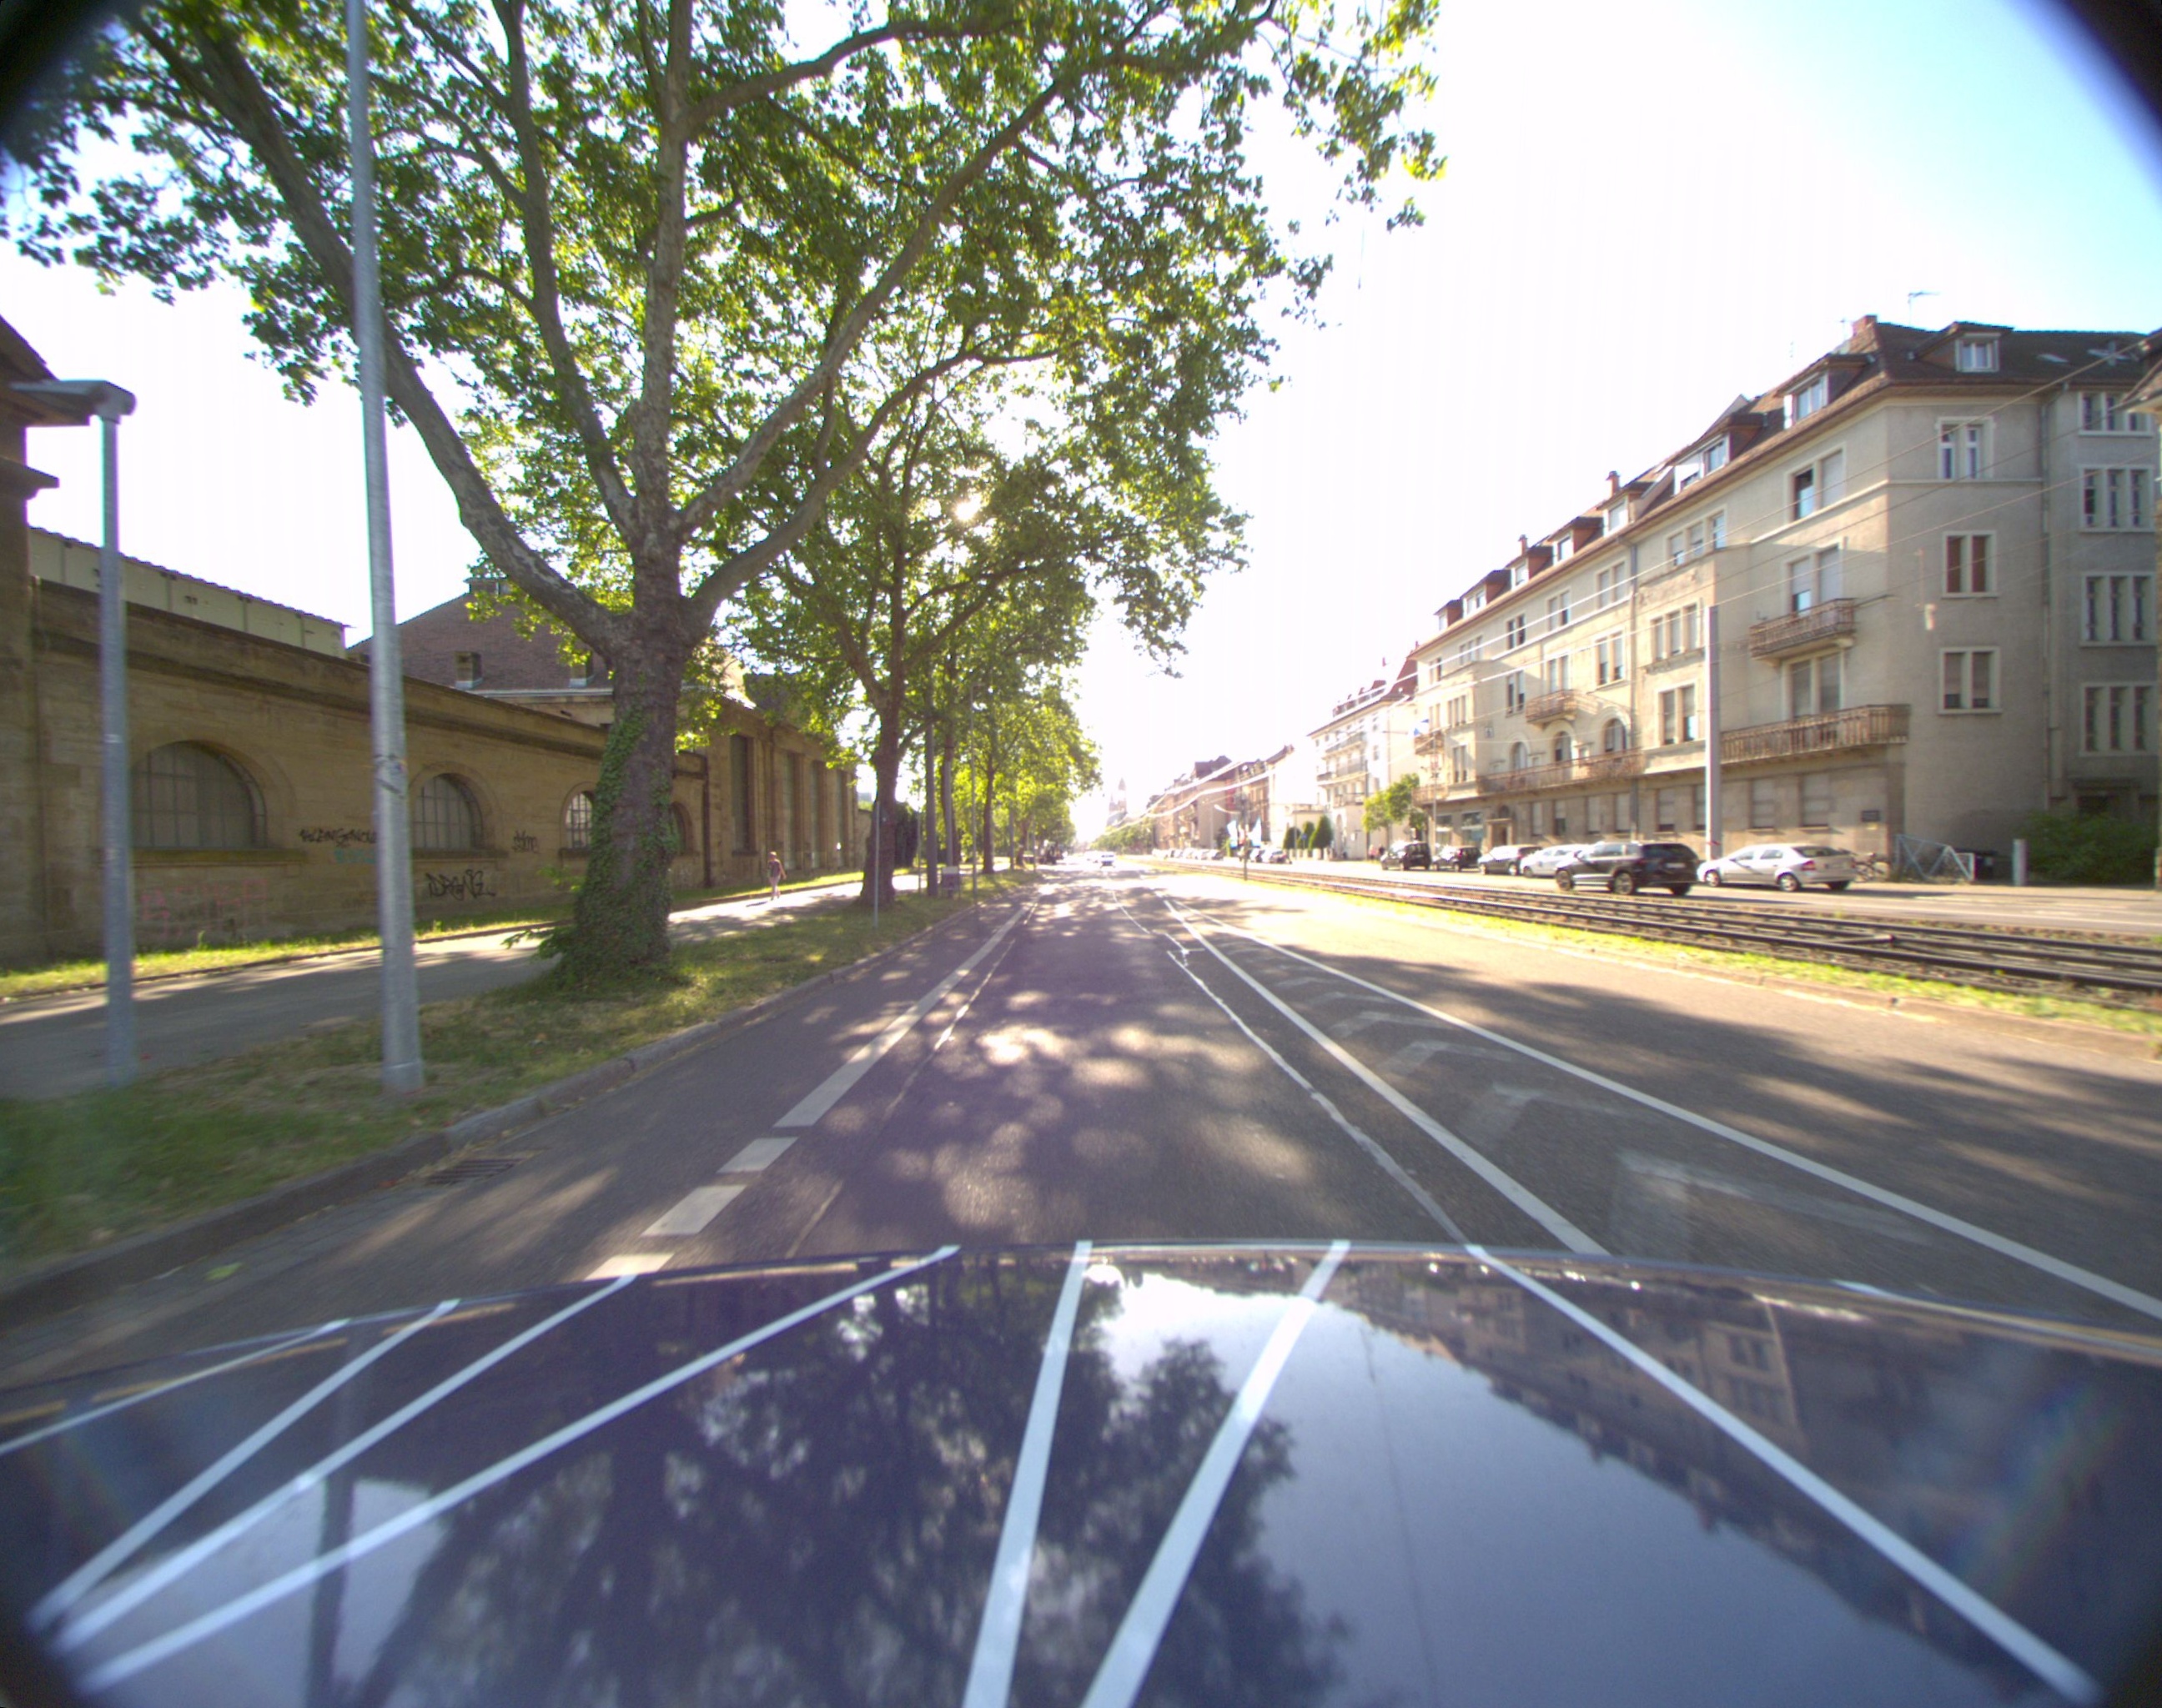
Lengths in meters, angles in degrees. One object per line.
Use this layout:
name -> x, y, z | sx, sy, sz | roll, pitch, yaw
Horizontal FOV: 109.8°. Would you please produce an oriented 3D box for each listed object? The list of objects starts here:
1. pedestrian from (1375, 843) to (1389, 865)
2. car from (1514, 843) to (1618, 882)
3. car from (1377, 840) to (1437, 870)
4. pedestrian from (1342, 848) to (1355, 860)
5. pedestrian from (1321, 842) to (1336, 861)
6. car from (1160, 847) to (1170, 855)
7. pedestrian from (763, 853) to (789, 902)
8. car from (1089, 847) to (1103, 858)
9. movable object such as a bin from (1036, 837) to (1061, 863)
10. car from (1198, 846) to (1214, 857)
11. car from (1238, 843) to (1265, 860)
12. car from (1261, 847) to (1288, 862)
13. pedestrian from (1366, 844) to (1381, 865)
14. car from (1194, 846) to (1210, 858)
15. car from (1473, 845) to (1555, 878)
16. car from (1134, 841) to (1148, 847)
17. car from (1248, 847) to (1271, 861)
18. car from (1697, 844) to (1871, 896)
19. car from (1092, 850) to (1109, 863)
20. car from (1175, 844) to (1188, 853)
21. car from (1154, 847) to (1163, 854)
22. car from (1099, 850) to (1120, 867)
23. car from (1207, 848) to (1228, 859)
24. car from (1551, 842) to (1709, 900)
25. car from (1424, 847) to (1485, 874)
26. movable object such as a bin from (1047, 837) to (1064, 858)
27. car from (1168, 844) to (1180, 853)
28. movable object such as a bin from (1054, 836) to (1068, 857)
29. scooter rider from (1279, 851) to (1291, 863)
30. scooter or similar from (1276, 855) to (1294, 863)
pedestrian -> 24.335, 0.005, 61.478 | 0.855, 1.687, 0.592 | -2, 2, 41
car -> 21.485, 0.374, 33.843 | 1.640, 1.460, 3.980 | -7, 1, -7
car -> 21.452, 0.088, 50.139 | 1.867, 1.776, 4.400 | -3, 0, -2
pedestrian -> 26.748, -0.017, 75.911 | 0.879, 1.180, 0.894 | -3, 2, -9
pedestrian -> 24.608, -0.242, 75.553 | 0.995, 1.768, 0.934 | -4, 2, -15
car -> 19.185, -0.708, 173.569 | 1.799, 1.797, 3.999 | -3, 1, -2
pedestrian -> -10.715, 0.817, 26.667 | 0.609, 1.672, 0.636 | 3, 1, -3
car -> 2.285, -0.217, 115.955 | 1.799, 1.501, 3.999 | -3, 0, -1
movable object such as a bin -> -4.119, -0.525, 96.704 | 2.751, 3.127, 7.218 | 2, 0, 0
car -> 20.099, -0.360, 122.464 | 1.925, 1.685, 4.842 | -3, 0, 1
car -> 20.974, -0.336, 93.638 | 2.082, 1.998, 5.591 | -3, 1, 1
car -> 20.853, 0.056, 81.952 | 1.799, 1.502, 3.999 | -3, 1, 0
pedestrian -> 23.585, 0.049, 61.277 | 0.855, 1.687, 0.592 | -2, 2, 41
car -> 20.342, -0.370, 128.063 | 1.925, 1.552, 4.840 | -6, 2, 2
car -> 21.903, 0.330, 38.598 | 1.639, 1.460, 4.158 | -4, 1, -1
car -> 18.475, -2.998, 234.931 | 3.991, 1.502, 1.802 | -3, 2, 20
car -> 20.480, -0.022, 87.257 | 1.639, 1.499, 4.158 | -3, 1, 1
car -> 22.134, 0.454, 24.187 | 1.639, 1.460, 4.158 | -2, 0, -1
car -> 2.425, 0.256, 94.361 | 1.799, 1.501, 3.999 | -3, 0, -1
car -> 20.228, -1.114, 152.572 | 1.925, 1.529, 4.626 | -2, 1, -1
car -> 19.223, -0.780, 189.625 | 1.798, 1.633, 4.630 | -3, 1, 1
car -> 2.705, 0.390, 72.943 | 1.799, 1.501, 3.999 | -3, 0, -1
car -> 20.239, -0.115, 113.143 | 1.926, 1.452, 4.840 | -6, 1, -2
car -> 16.398, 0.459, 22.990 | 1.640, 1.592, 4.157 | 0, 0, -3
car -> 21.707, 0.333, 44.286 | 1.632, 1.383, 3.507 | -4, 0, -2
movable object such as a bin -> -5.291, -1.327, 156.155 | 3.347, 3.953, 7.595 | 2, 0, -3
car -> 19.349, -1.177, 158.765 | 1.664, 1.797, 4.727 | -3, 1, -2
movable object such as a bin -> -4.611, -1.675, 176.084 | 2.922, 4.584, 7.595 | 2, 0, -3
scooter rider -> 20.149, 0.297, 75.139 | 0.976, 1.083, 0.809 | 0, 1, 30
scooter or similar -> 20.189, 0.498, 75.124 | 1.565, 0.766, 0.809 | 0, 1, 30
